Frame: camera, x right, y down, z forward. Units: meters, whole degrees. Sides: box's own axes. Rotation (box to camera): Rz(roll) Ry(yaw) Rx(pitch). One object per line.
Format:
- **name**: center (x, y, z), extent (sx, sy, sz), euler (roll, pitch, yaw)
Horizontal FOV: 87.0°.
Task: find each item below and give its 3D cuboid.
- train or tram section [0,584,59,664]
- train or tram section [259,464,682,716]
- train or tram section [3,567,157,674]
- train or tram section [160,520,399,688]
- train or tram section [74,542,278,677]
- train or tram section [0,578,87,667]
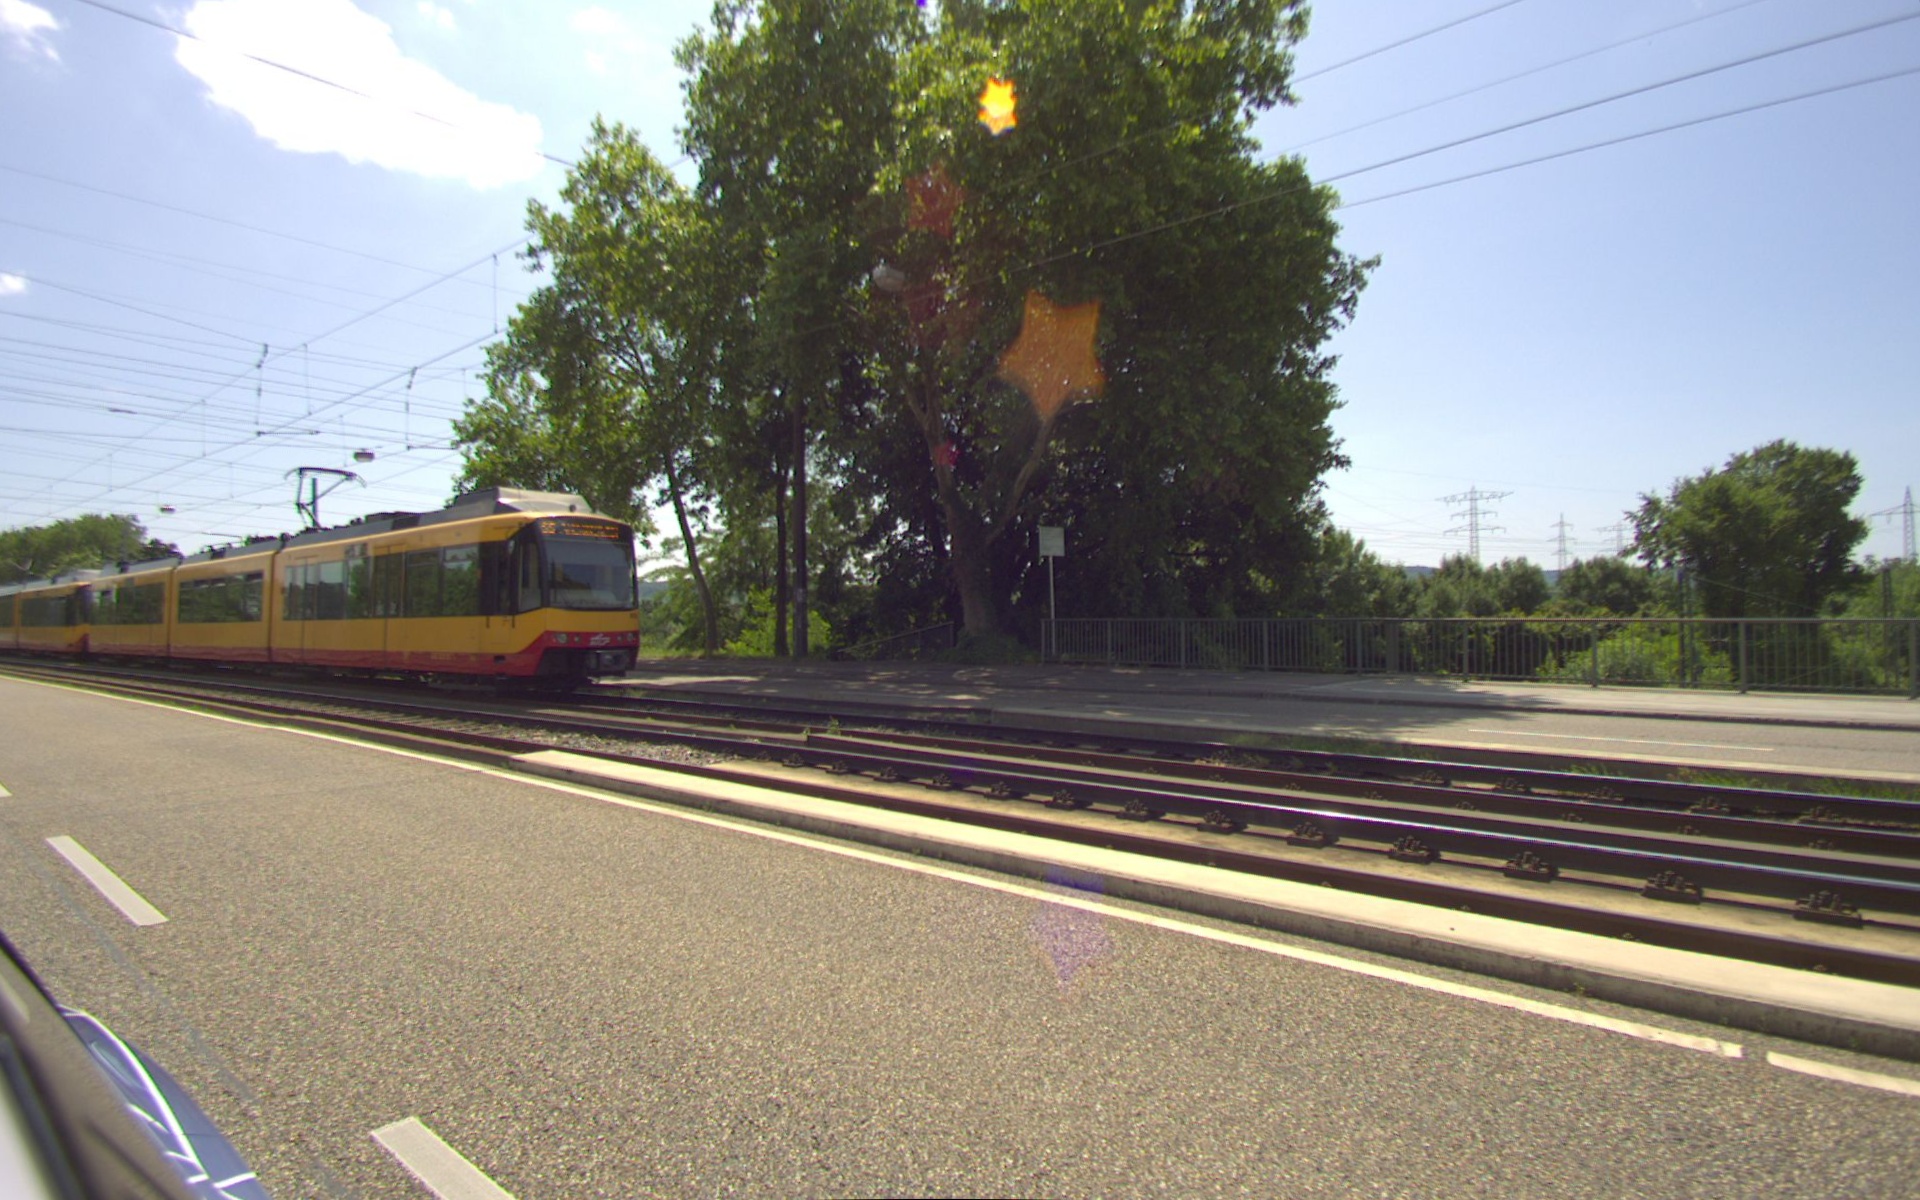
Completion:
- **train or tram section**: center (-56.959, 1.453, 59.997), extent (15.408, 4.300, 3.018), euler (-2, -2, 40)
- **train or tram section**: center (-11.538, -0.019, 22.439), extent (13.970, 4.172, 3.007), euler (-1, -2, 40)
- **train or tram section**: center (-40.629, 0.980, 46.464), extent (14.021, 4.300, 3.018), euler (-2, -2, 39)
- **train or tram section**: center (-20.182, 0.208, 29.657), extent (10.223, 4.180, 3.008), euler (-1, -2, 40)
- **train or tram section**: center (-28.927, 0.433, 36.923), extent (13.469, 4.186, 3.007), euler (-1, -2, 40)
- **train or tram section**: center (-48.579, 1.196, 52.997), extent (7.994, 4.300, 3.018), euler (-2, -2, 39)
